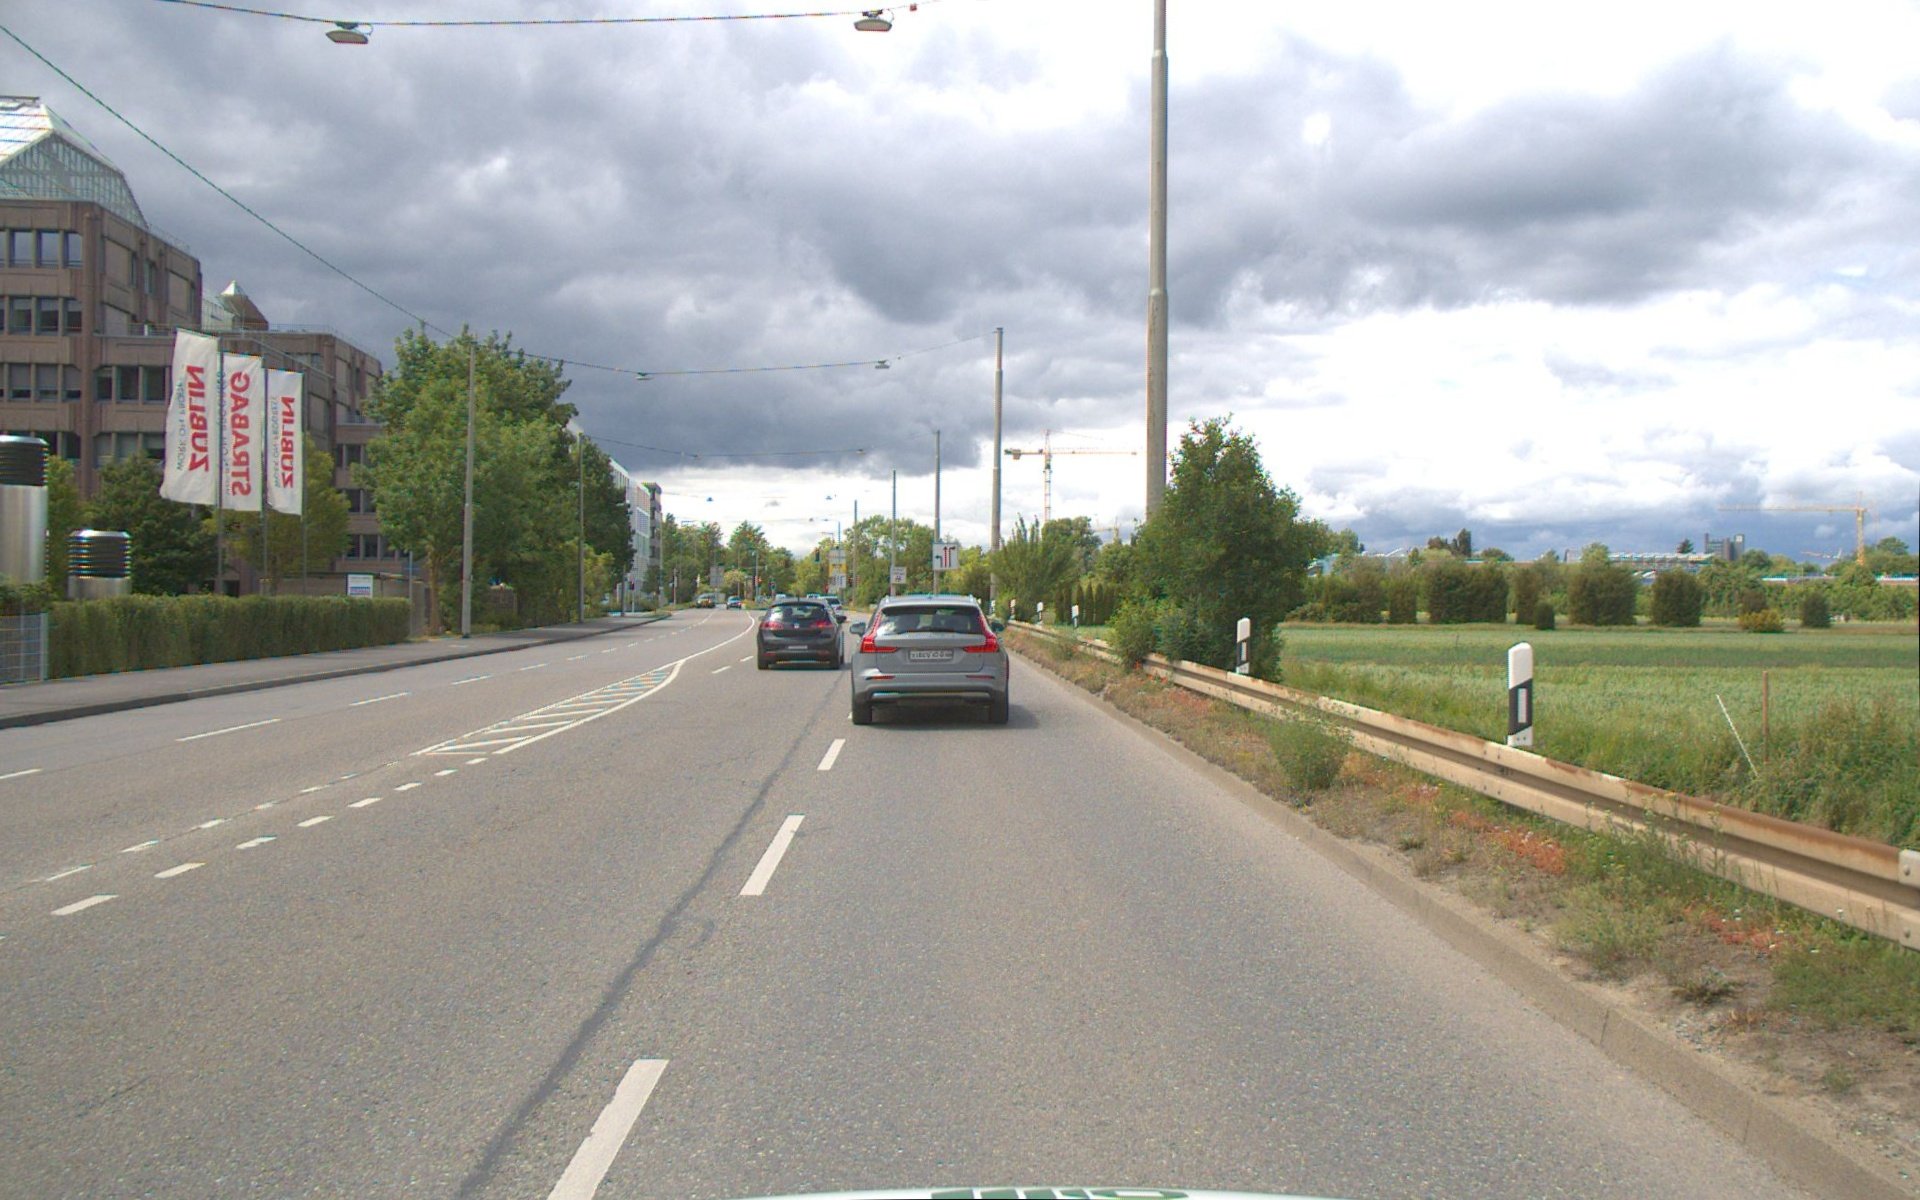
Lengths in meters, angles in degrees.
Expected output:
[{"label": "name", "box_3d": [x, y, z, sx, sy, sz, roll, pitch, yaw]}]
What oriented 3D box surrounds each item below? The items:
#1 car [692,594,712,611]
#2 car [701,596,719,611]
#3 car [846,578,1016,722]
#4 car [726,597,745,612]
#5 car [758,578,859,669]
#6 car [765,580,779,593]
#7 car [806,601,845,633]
[{"label": "car", "box_3d": [-29.642, 0.285, 190.244, 1.844, 1.747, 3.997, 2, -1, -3]}, {"label": "car", "box_3d": [-31.190, 0.408, 206.541, 1.844, 1.747, 3.997, 2, -1, -3]}, {"label": "car", "box_3d": [-0.333, 0.581, 20.164, 1.857, 1.581, 3.999, 0, -1, -1]}, {"label": "car", "box_3d": [-25.573, 0.526, 188.583, 1.844, 1.547, 3.997, 2, -1, -3]}, {"label": "car", "box_3d": [-3.173, 0.508, 35.159, 1.954, 1.747, 3.996, 2, -1, -4]}, {"label": "car", "box_3d": [-27.884, -1.947, 245.373, 1.911, 1.780, 4.382, 2, -1, -6]}, {"label": "car", "box_3d": [-7.619, 0.981, 93.951, 1.954, 1.724, 3.998, 2, -1, -2]}]
